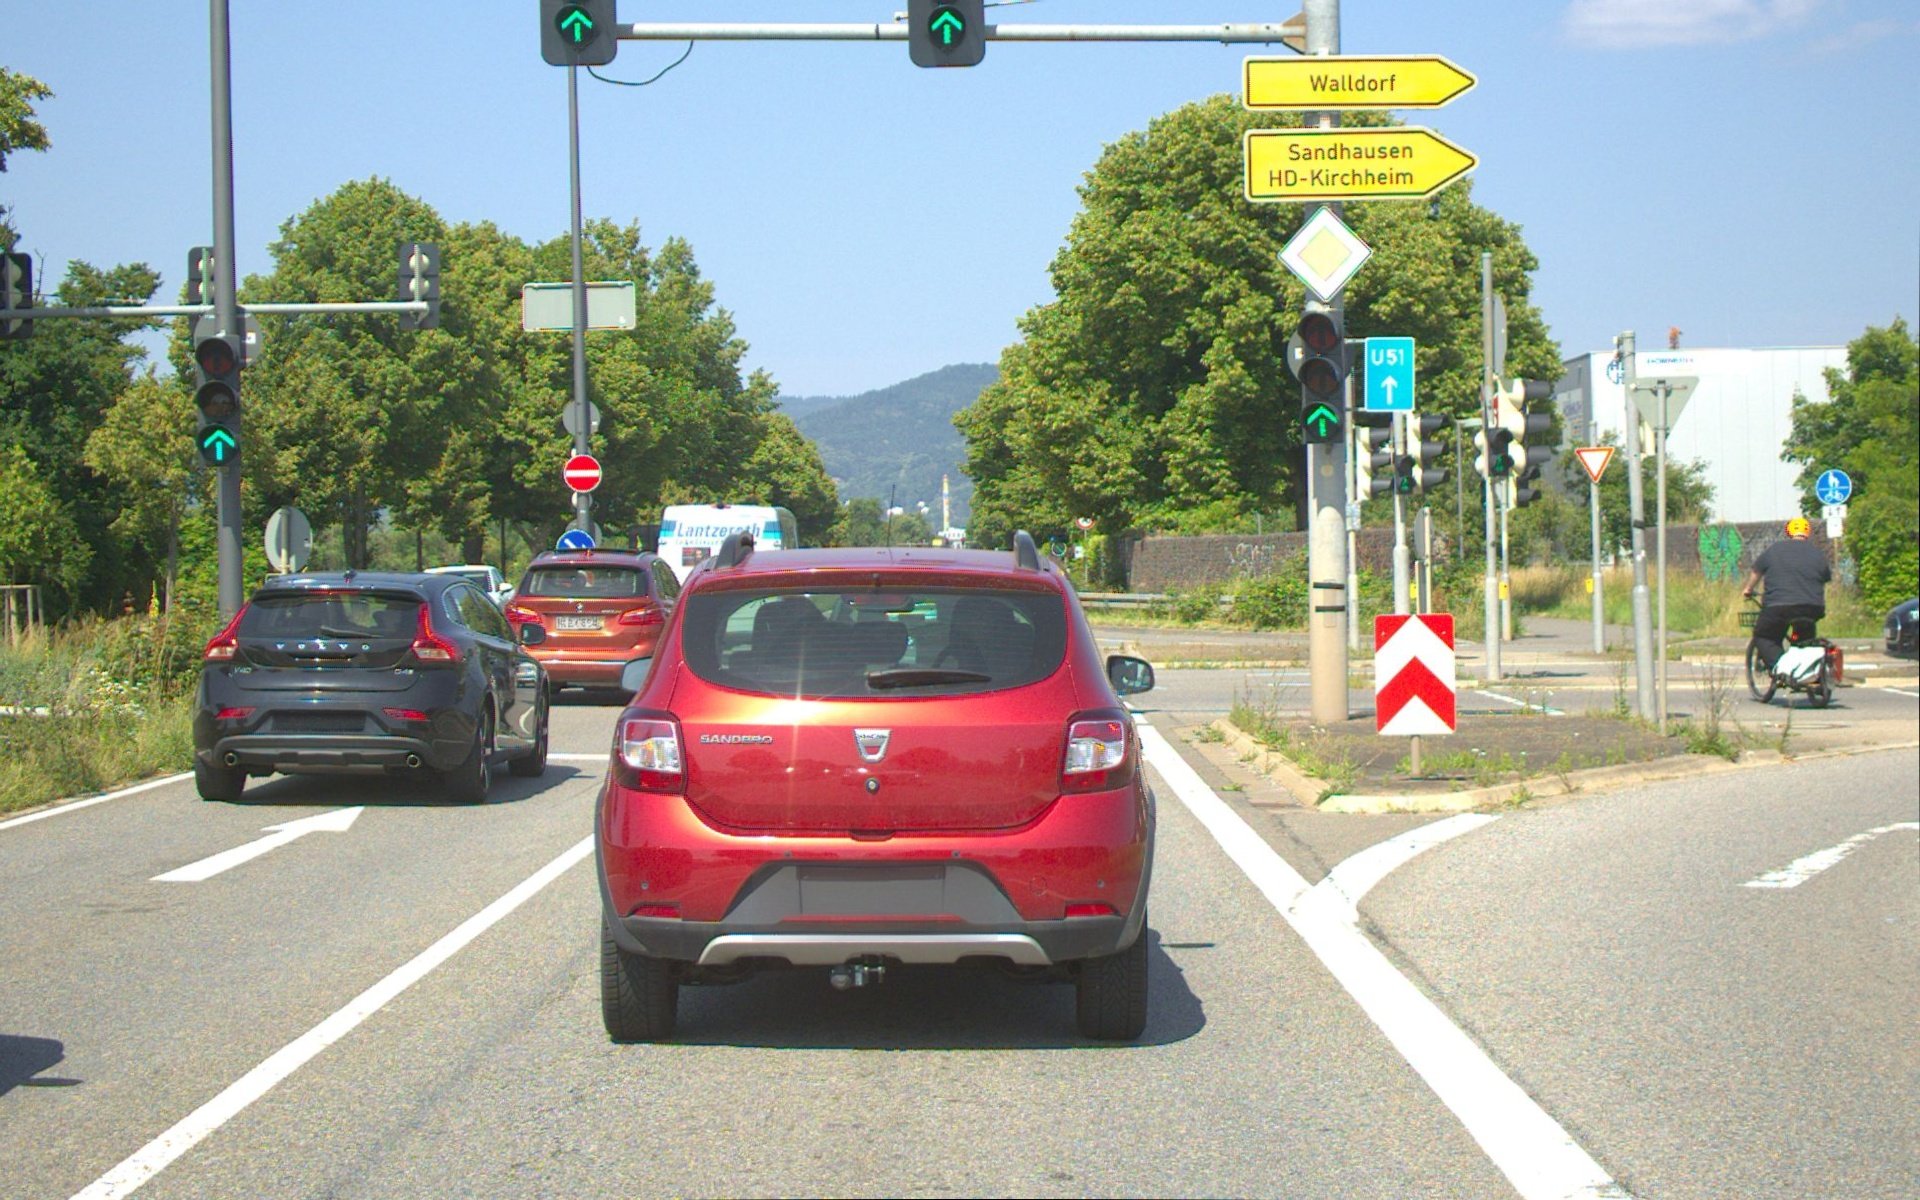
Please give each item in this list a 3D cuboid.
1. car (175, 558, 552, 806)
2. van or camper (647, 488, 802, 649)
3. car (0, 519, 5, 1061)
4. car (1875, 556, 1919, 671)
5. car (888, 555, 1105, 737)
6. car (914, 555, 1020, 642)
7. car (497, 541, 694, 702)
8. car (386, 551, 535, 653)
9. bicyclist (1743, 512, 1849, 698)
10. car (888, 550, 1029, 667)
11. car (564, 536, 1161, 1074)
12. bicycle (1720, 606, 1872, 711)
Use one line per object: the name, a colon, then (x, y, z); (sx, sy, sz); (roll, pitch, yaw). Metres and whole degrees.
car: (-3.749, 0.460, 22.243); (1.702, 1.437, 3.955); (0, 1, 1)
van or camper: (-3.530, -0.493, 52.358); (2.179, 2.295, 4.827); (1, 1, -2)
car: (-3.663, 0.576, 8.062); (1.723, 1.570, 3.892); (0, 1, 1)
car: (12.991, 0.117, 40.816); (3.989, 1.322, 1.805); (-1, 1, 11)
car: (0.350, 0.350, 29.539); (1.749, 1.453, 3.676); (0, 1, 2)
car: (0.148, -0.049, 59.753); (1.749, 1.453, 3.676); (0, 1, 2)
car: (-3.763, 0.182, 36.061); (1.724, 1.594, 3.956); (0, 1, -1)
car: (-8.651, 0.013, 59.825); (1.993, 1.664, 4.000); (-1, 1, 0)
bicyclist: (8.109, 0.039, 33.366); (0.802, 1.765, 0.809); (-1, 1, -1)
car: (0.019, 0.081, 45.145); (1.749, 1.453, 3.676); (0, 1, 2)
car: (-0.235, 0.577, 11.909); (1.749, 1.570, 3.676); (0, 1, 2)
bicycle: (8.120, 0.548, 33.516); (0.761, 0.911, 2.780); (-1, 1, -1)
